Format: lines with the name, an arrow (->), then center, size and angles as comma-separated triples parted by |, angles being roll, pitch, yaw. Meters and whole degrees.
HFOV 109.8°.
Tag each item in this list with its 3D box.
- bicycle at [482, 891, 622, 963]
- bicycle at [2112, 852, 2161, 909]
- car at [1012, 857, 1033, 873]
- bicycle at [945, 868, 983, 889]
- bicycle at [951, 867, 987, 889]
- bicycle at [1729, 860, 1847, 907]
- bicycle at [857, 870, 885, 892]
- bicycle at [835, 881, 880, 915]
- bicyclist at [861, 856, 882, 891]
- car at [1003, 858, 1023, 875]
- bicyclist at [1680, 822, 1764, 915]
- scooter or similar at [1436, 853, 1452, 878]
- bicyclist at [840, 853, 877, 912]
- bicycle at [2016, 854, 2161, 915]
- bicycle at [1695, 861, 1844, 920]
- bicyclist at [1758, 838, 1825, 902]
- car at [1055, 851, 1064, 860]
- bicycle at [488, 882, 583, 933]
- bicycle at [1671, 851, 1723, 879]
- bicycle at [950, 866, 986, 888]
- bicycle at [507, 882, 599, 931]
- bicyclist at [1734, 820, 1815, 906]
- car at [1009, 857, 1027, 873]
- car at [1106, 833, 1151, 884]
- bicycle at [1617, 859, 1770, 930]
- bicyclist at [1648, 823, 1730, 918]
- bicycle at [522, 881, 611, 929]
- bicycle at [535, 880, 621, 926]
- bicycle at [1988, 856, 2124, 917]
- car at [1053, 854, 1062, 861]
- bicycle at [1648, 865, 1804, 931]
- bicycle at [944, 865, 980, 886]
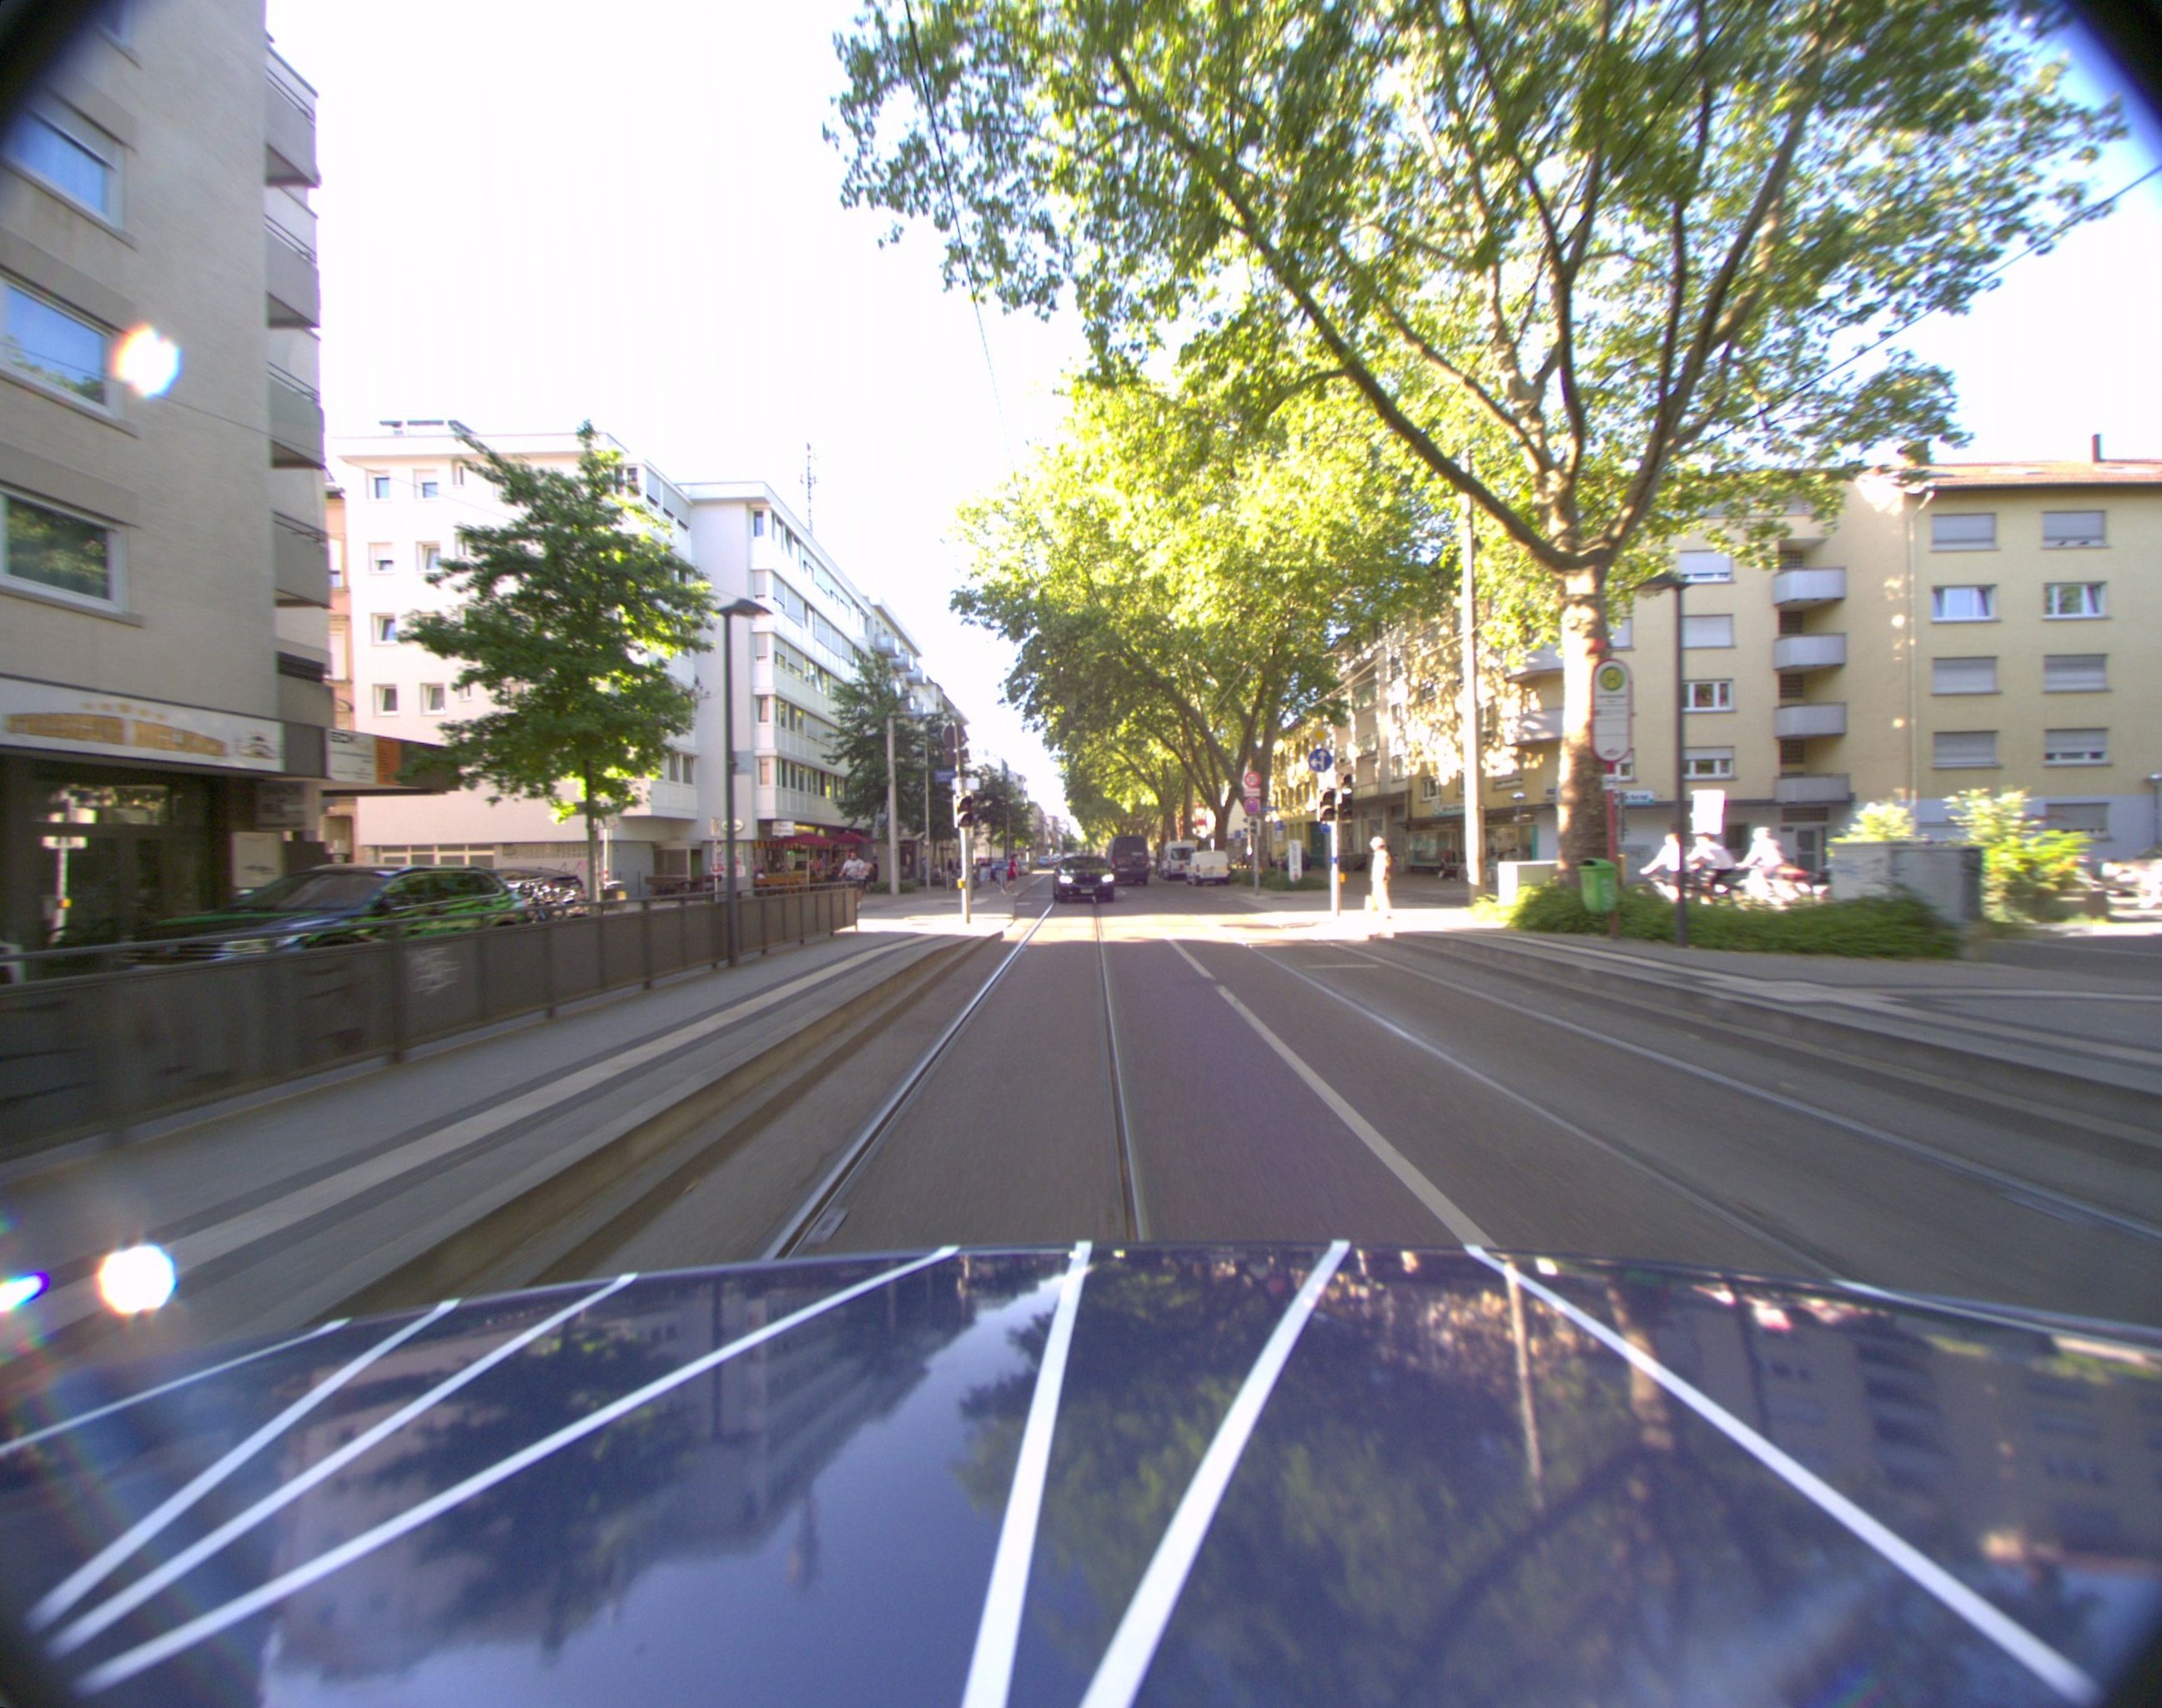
bicycle -> -9.462, 1.298, 13.620 | 2.130, 1.181, 0.681 | -2, 1, 9
bicycle -> 20.836, 0.492, 14.319 | 0.543, 1.077, 1.639 | -2, -1, -1
car -> -6.008, 1.109, 77.913 | 1.791, 1.528, 4.127 | 1, 0, 0
bicycle -> -5.898, 1.245, 38.354 | 1.820, 0.988, 0.481 | -2, 1, -2
bicycle -> -5.802, 1.239, 39.375 | 1.821, 1.094, 0.497 | -2, 1, -7
bicycle -> 17.791, 0.707, 19.208 | 0.682, 1.064, 2.212 | -2, 1, -9
bicycle -> -10.256, 1.326, 37.246 | 0.678, 0.957, 2.022 | -2, 1, 3
bicycle -> -7.097, 1.371, 24.189 | 0.790, 0.932, 1.939 | -2, 1, 1
bicyclist -> -10.274, 0.949, 37.328 | 0.678, 1.707, 0.965 | -2, 1, 3
car -> -6.214, 1.115, 70.083 | 1.627, 1.473, 3.889 | 1, 0, -2
bicyclist -> 12.596, 0.272, 14.958 | 0.776, 1.740, 0.997 | -2, 1, -1
scooter or similar -> 17.495, 0.532, 36.583 | 0.642, 1.160, 0.676 | -2, 1, 27
bicyclist -> -7.097, 0.888, 24.263 | 0.769, 1.821, 1.099 | -2, 1, 1
bicycle -> 19.143, 0.583, 14.485 | 0.543, 1.077, 1.639 | -2, -2, -1
bicycle -> 14.694, 0.731, 16.354 | 0.784, 1.104, 2.595 | -2, 1, -2
bicyclist -> 17.798, 0.381, 19.059 | 0.682, 1.539, 0.993 | -2, 1, -10
car -> -5.165, 0.333, 182.930 | 1.991, 2.085, 4.470 | -2, 1, 1
bicycle -> -13.466, 1.319, 18.771 | 1.919, 1.200, 0.511 | -1, 0, -3
bicycle -> 25.108, 0.450, 30.992 | 1.637, 1.078, 0.543 | -2, 0, 2
bicycle -> -5.968, 1.204, 40.037 | 1.821, 1.094, 0.481 | -2, 1, -7
bicycle -> -13.414, 1.327, 19.327 | 1.919, 1.200, 0.511 | -1, 0, -3
bicyclist -> 14.688, 0.182, 16.125 | 0.776, 1.740, 0.997 | -2, 1, -2
car -> -6.119, 1.088, 73.919 | 1.448, 1.528, 2.881 | 1, 0, 0
car -> 2.671, 0.200, 43.999 | 2.119, 2.722, 6.113 | 0, 1, -1
bicycle -> 11.745, 0.731, 14.722 | 0.784, 1.184, 2.595 | -2, 1, -2
bicyclist -> 11.740, 0.310, 14.700 | 0.784, 1.753, 0.951 | -2, 1, -2
bicycle -> -13.431, 1.325, 19.861 | 1.919, 1.200, 0.511 | -1, 0, -3
bicycle -> -13.474, 1.301, 20.391 | 1.919, 1.200, 0.511 | -1, 0, -3
bicycle -> 18.515, 0.617, 14.486 | 0.543, 1.077, 1.537 | -2, -2, -1
car -> -5.290, 0.885, 173.491 | 1.867, 1.499, 4.000 | -2, 1, 1
bicycle -> 12.625, 0.811, 15.026 | 0.784, 1.104, 2.595 | -2, 1, -2
bicycle -> -6.379, 1.145, 40.731 | 1.820, 1.094, 0.525 | -1, 1, 0
